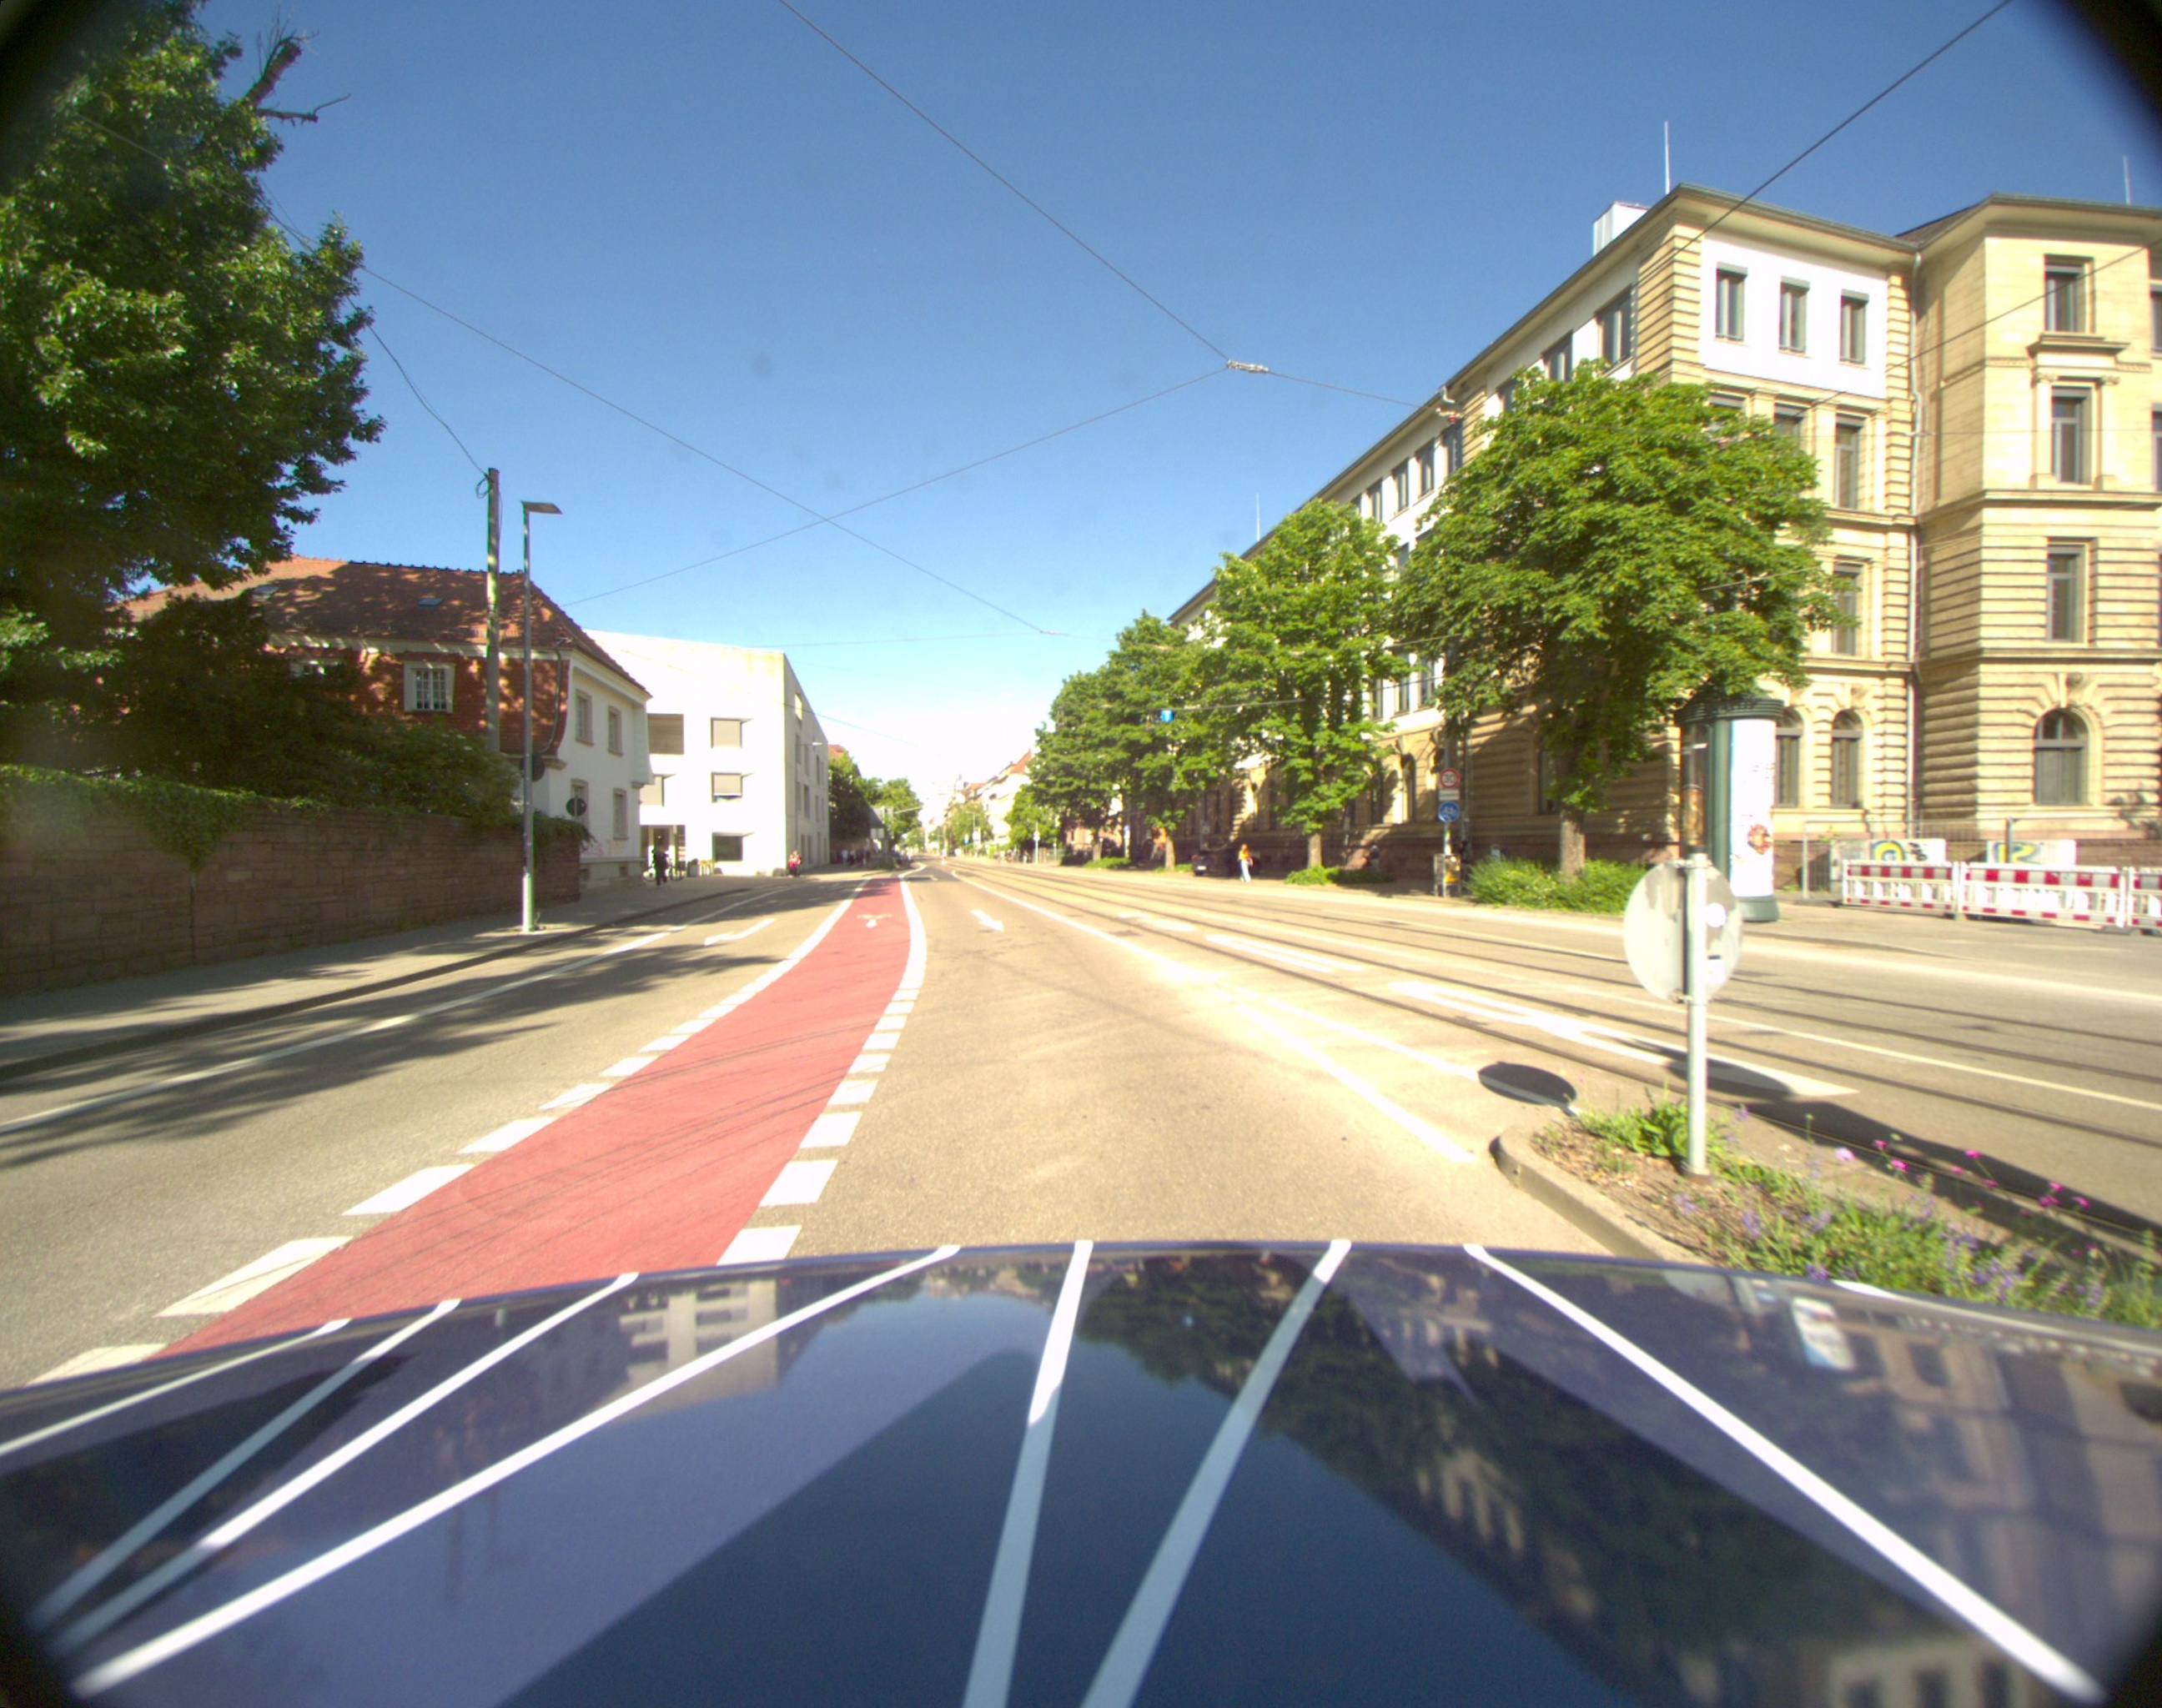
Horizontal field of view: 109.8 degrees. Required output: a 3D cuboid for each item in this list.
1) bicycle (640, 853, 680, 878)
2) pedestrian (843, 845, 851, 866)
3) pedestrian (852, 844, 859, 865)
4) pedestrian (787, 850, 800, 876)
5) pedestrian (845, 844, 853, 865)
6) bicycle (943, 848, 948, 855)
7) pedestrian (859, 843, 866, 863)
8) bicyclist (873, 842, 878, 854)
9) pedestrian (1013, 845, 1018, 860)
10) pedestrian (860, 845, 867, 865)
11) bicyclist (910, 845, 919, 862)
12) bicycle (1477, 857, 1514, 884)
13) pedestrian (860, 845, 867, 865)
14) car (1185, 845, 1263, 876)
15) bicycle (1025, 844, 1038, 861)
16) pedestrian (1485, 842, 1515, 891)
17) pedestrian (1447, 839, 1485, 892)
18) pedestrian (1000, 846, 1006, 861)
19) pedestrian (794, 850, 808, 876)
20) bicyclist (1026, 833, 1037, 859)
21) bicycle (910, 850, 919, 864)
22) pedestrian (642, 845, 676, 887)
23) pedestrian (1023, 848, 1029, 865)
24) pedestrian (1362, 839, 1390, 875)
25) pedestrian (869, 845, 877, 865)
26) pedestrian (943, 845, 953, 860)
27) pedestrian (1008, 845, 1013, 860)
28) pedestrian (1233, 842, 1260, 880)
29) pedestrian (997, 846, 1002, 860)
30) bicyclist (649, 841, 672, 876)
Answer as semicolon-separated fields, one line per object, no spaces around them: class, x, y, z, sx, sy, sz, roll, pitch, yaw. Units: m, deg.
bicycle;-20.075;0.555;36.225;1.602;1.145;0.743;3;0;-32
pedestrian;-20.265;0.092;65.905;0.588;1.796;0.545;-1;1;-14
pedestrian;-19.614;0.067;66.102;0.588;1.796;0.545;-1;1;-14
pedestrian;-17.347;0.525;45.873;0.533;1.557;0.521;0;1;25
pedestrian;-20.615;0.031;67.527;0.588;1.796;0.582;-1;1;-14
bicycle;-34.631;-0.700;194.110;1.004;1.672;2.980;-2;2;-13
pedestrian;-19.935;-0.094;69.295;0.588;1.796;0.545;-1;1;-14
bicyclist;-37.955;-1.079;140.431;0.813;2.194;0.983;-2;2;-11
pedestrian;-8.245;-0.189;95.729;0.579;1.845;0.684;-1;1;-12
pedestrian;-18.957;0.081;66.265;0.588;1.796;0.519;-1;1;-14
bicyclist;-14.839;-0.077;67.597;0.665;1.453;0.621;-2;2;-9
bicycle;14.787;0.584;27.142;0.398;0.898;1.359;-2;2;-11
pedestrian;-19.416;0.062;67.781;0.588;1.796;0.582;-1;1;-14
car;7.711;0.306;40.769;4.118;1.565;1.915;-1;1;-40
bicycle;-5.748;-0.230;88.290;1.003;1.877;3.894;-1;2;4
pedestrian;13.557;0.403;24.593;0.579;1.553;0.653;-1;1;-13
pedestrian;12.439;0.354;24.591;0.729;1.660;0.845;0;4;-3
pedestrian;-9.897;-0.037;96.304;0.729;1.845;0.653;-1;1;-11
pedestrian;-16.819;0.514;45.609;0.533;1.557;0.521;0;1;25
bicyclist;-5.780;-0.954;88.085;1.003;2.959;1.474;-1;2;4
bicycle;-14.836;0.242;67.629;0.665;1.146;1.670;-2;2;-9
pedestrian;-17.068;0.482;30.740;0.941;1.668;0.953;2;1;-15
pedestrian;-5.873;0.246;81.217;0.579;1.845;0.653;-1;1;-17
pedestrian;13.157;0.125;33.911;0.673;1.558;0.857;-5;3;-17
pedestrian;-18.269;0.092;66.683;0.588;1.717;0.519;-1;1;-14
pedestrian;-15.409;-0.150;87.968;0.933;1.728;0.677;-1;1;-32
pedestrian;-8.888;-0.165;95.544;0.579;1.845;0.684;-1;1;-12
pedestrian;7.478;0.319;34.394;0.772;1.658;1.033;1;-3;-17
pedestrian;-10.254;-0.140;95.989;0.579;1.845;0.684;-1;1;-12
bicyclist;-20.048;0.214;36.238;0.881;1.573;0.743;3;0;-31
